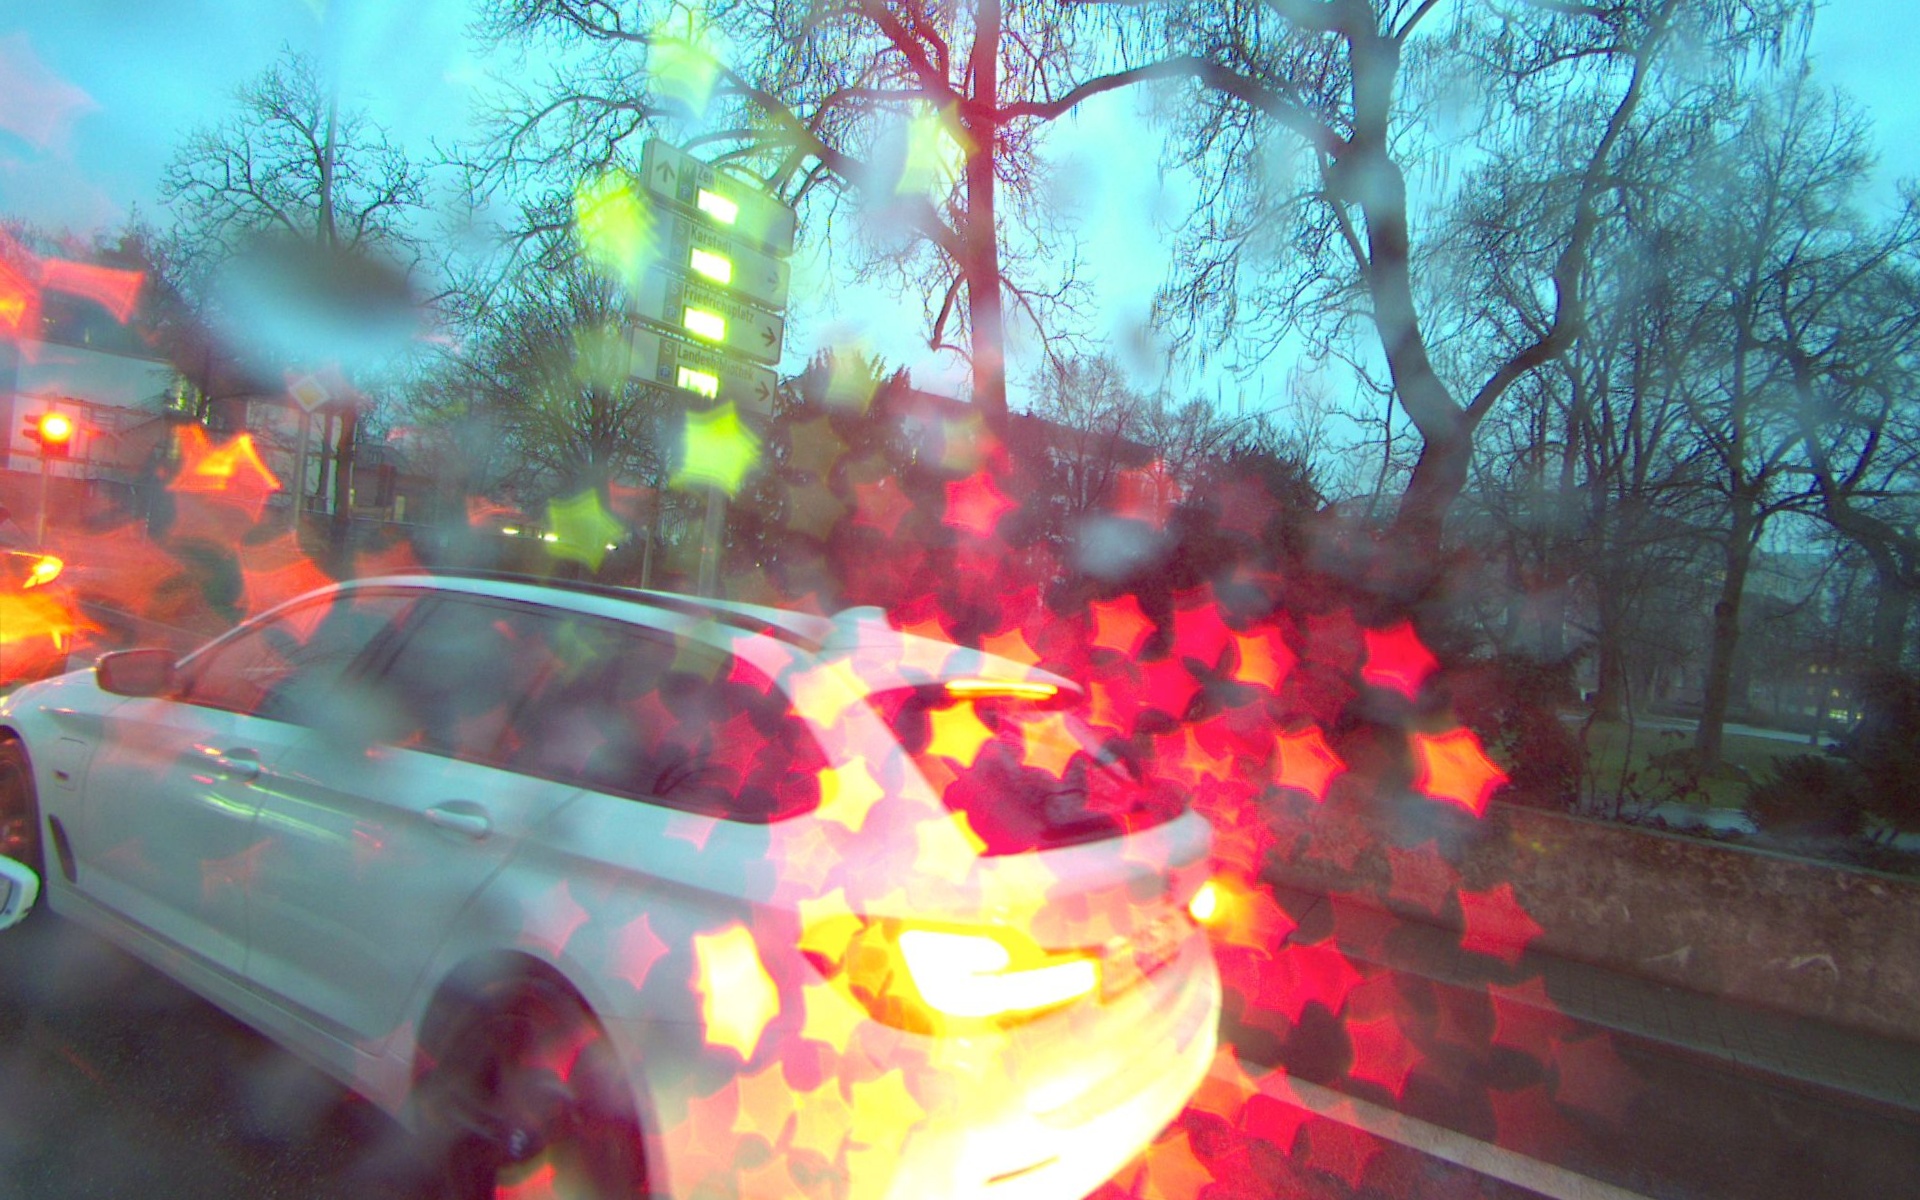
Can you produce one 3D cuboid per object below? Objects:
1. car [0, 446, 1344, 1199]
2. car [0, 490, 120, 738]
[{"bbox_3d":[-1.453,0.498,3.458,4.852,1.575,1.866,7,0,28],"label":"car"},{"bbox_3d":[-7.723,-0.123,6.915,3.831,1.529,1.802,7,0,32],"label":"car"}]
